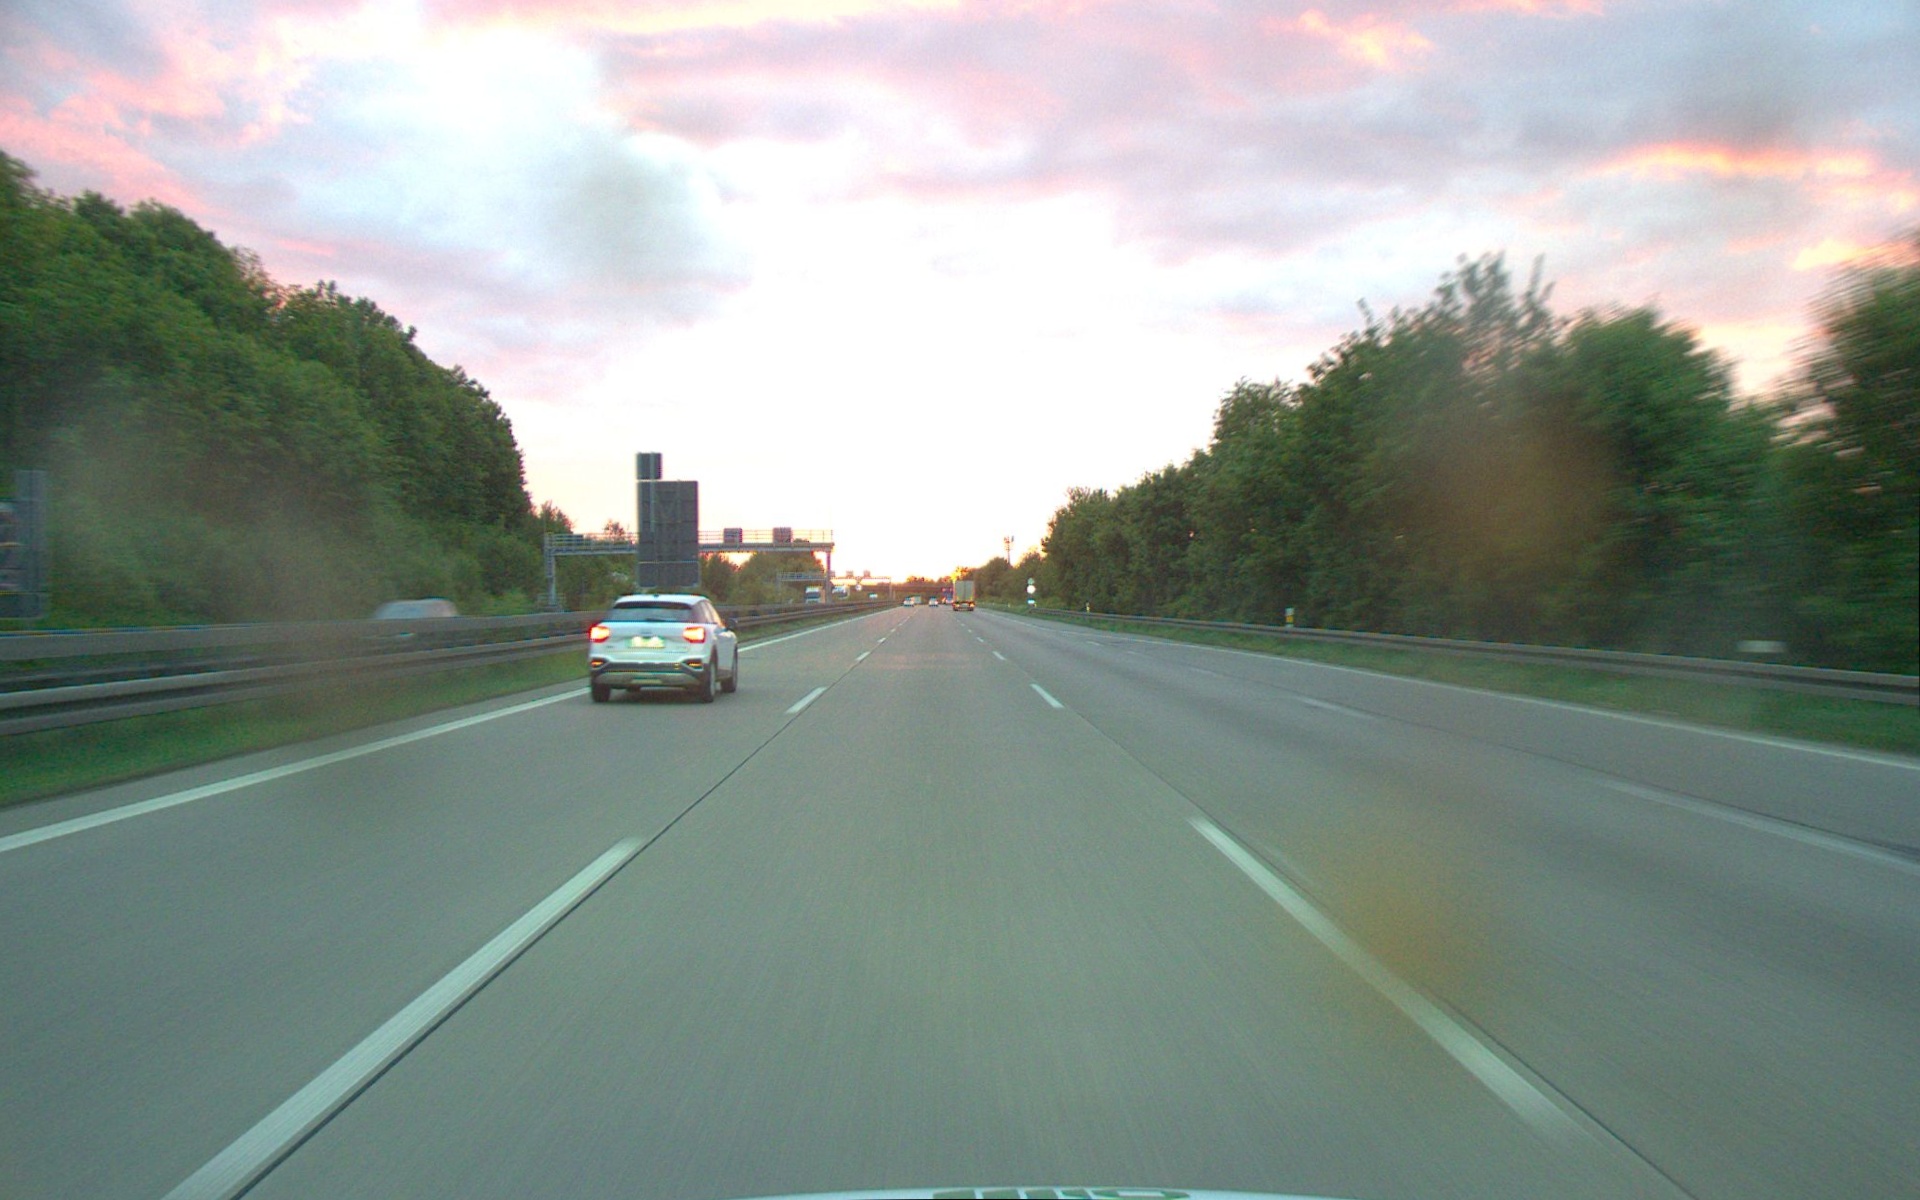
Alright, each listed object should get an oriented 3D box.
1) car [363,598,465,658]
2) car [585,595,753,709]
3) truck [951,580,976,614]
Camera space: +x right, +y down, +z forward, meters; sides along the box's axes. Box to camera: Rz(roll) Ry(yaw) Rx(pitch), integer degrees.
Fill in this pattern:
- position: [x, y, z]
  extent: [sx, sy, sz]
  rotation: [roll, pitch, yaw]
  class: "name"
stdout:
- position: [-16.540, 0.815, 50.319]
  extent: [1.726, 1.724, 4.457]
  rotation: [0, 0, -1]
  class: "car"
- position: [-4.296, 0.706, 25.157]
  extent: [1.753, 1.527, 5.036]
  rotation: [1, 0, -2]
  class: "car"
- position: [0.432, -0.326, 212.242]
  extent: [3.178, 4.199, 9.785]
  rotation: [-1, 0, 0]
  class: "truck"
